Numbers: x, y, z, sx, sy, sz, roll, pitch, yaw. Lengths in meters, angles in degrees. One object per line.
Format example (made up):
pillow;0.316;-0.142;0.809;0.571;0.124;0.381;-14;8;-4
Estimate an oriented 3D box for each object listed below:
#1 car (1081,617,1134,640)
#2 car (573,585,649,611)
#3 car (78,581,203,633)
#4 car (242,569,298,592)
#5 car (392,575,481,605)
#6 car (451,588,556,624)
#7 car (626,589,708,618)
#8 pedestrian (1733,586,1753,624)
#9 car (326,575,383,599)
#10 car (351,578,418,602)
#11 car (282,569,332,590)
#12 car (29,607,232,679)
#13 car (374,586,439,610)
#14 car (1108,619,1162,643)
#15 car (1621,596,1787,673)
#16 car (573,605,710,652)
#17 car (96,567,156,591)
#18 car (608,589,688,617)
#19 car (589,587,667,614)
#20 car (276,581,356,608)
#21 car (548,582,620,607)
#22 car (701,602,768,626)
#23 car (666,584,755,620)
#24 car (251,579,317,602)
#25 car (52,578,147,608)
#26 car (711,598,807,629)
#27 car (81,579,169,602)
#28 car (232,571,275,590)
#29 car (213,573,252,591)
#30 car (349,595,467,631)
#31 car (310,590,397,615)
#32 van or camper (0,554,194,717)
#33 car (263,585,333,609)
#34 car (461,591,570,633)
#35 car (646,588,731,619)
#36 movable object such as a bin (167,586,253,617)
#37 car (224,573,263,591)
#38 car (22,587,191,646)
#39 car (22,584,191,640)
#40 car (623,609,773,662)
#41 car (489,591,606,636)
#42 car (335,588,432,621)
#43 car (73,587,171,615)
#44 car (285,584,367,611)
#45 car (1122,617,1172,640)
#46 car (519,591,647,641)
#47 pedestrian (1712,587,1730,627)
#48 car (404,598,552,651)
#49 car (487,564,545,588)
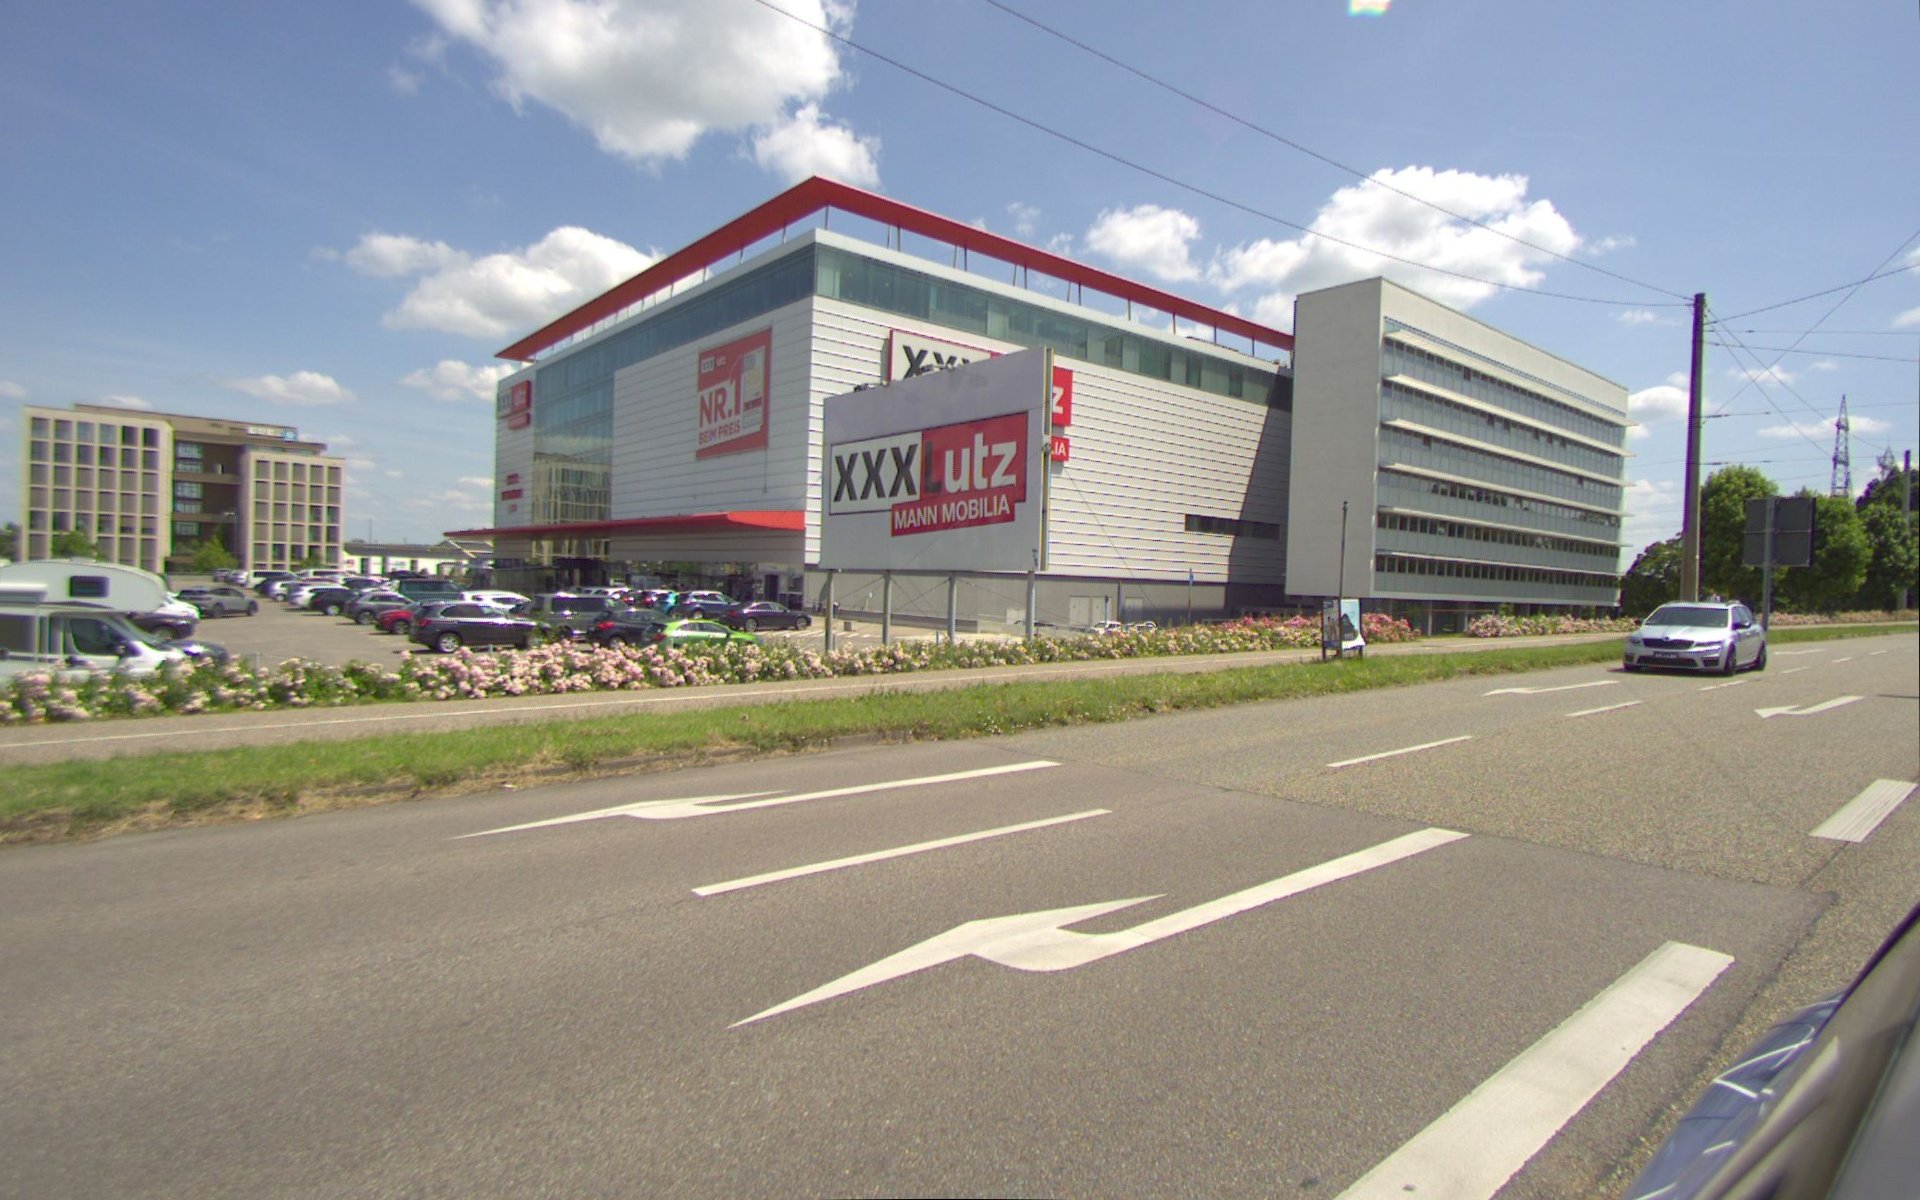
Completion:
car;11.460;2.197;78.631;3.930;1.668;1.997;0;0;-41
car;-23.441;-0.143;68.106;4.441;1.714;1.997;0;0;-41
car;-33.601;0.258;41.597;3.928;2.039;1.998;-1;0;-39
car;-60.927;-1.714;89.366;3.927;2.039;1.999;0;0;-38
car;-31.446;-0.615;60.813;4.438;1.756;1.998;0;0;-39
car;-22.971;0.285;50.992;4.438;1.756;1.998;0;0;-39
car;-18.066;0.176;62.466;4.441;1.714;1.997;0;0;-41
pedestrian;34.954;0.201;45.164;0.623;1.676;0.599;0;0;-41
car;-51.146;-1.082;85.510;3.930;2.039;1.997;0;0;-41
car;-42.426;-0.719;74.643;4.095;1.723;1.853;0;0;-39
car;-64.276;-1.963;99.637;3.930;2.039;1.997;0;0;-41
car;-21.367;1.039;26.206;3.930;1.638;1.997;0;0;-41
car;-37.996;-0.137;69.469;3.664;1.622;1.692;0;0;-40
car;13.327;2.364;76.859;3.930;1.668;1.997;0;0;-41
car;15.340;0.628;20.773;4.381;1.416;1.801;0;1;-40
car;-11.759;1.007;37.484;4.438;1.574;1.998;0;0;-39
car;-71.700;-1.783;87.076;3.927;2.039;1.998;0;1;-39
car;-19.851;0.172;64.417;4.441;1.714;1.997;0;0;-41
car;-21.771;0.020;66.452;4.441;1.714;1.997;0;0;-41
car;-39.268;-0.343;61.758;3.929;1.622;1.692;0;0;-40
car;-26.768;-0.386;72.074;4.441;1.714;1.997;0;0;-41
car;-11.934;0.724;53.653;3.177;1.224;1.390;-1;0;-41
car;-13.985;0.089;56.816;4.438;1.946;1.998;0;0;-39
car;-51.620;-0.699;77.295;4.094;1.723;1.853;0;0;-38
car;-50.339;-0.404;59.291;4.094;1.723;1.853;0;1;-38
car;-9.882;0.632;49.933;4.441;1.418;1.697;0;0;-41
car;-52.903;-0.614;64.217;4.177;1.430;1.859;0;0;-38
car;-67.553;-1.845;96.758;3.319;1.828;1.701;0;0;-39
car;-77.320;-1.885;107.581;3.319;1.828;1.701;0;0;-39
car;-23.693;0.527;43.506;4.179;1.430;1.859;-1;0;-39
car;-33.510;0.116;55.967;3.929;1.326;1.692;0;0;-40
van or camper;-19.127;0.649;19.055;7.475;2.983;2.715;-1;0;-38
car;-46.590;-0.222;71.270;3.929;1.622;1.692;0;0;-40
car;-21.336;0.550;48.638;4.438;1.918;1.998;0;0;-39
car;-15.848;0.193;59.179;4.438;1.714;1.998;0;0;-39
movable object such as a bin;-38.512;0.053;52.062;1.682;1.529;4.004;0;0;-5
car;-75.084;-1.886;106.048;3.319;1.828;1.701;0;0;-39
car;-29.533;0.537;35.230;4.405;1.936;1.590;0;1;-38
car;-32.777;0.399;39.064;4.875;2.039;1.998;-1;0;-39
car;-8.706;1.116;33.831;4.440;1.583;1.997;0;0;-41
car;-18.332;0.562;45.064;4.438;1.918;1.998;0;0;-39
car;-28.253;0.209;49.664;3.927;1.545;1.649;0;0;-39
car;-45.176;0.033;54.665;3.925;1.457;1.854;0;0;-37
car;-37.497;-0.174;59.907;3.929;1.546;1.692;0;0;-40
car;15.114;2.261;81.713;3.930;1.668;1.997;0;0;-41
car;-15.168;0.586;40.827;4.438;1.918;1.998;0;0;-39
pedestrian;34.554;0.325;45.948;0.623;1.816;0.518;0;0;-41
car;-17.131;0.802;36.060;4.424;1.738;1.997;-1;0;-41
car;-37.957;-2.015;86.518;4.209;2.039;1.849;-1;0;-39
